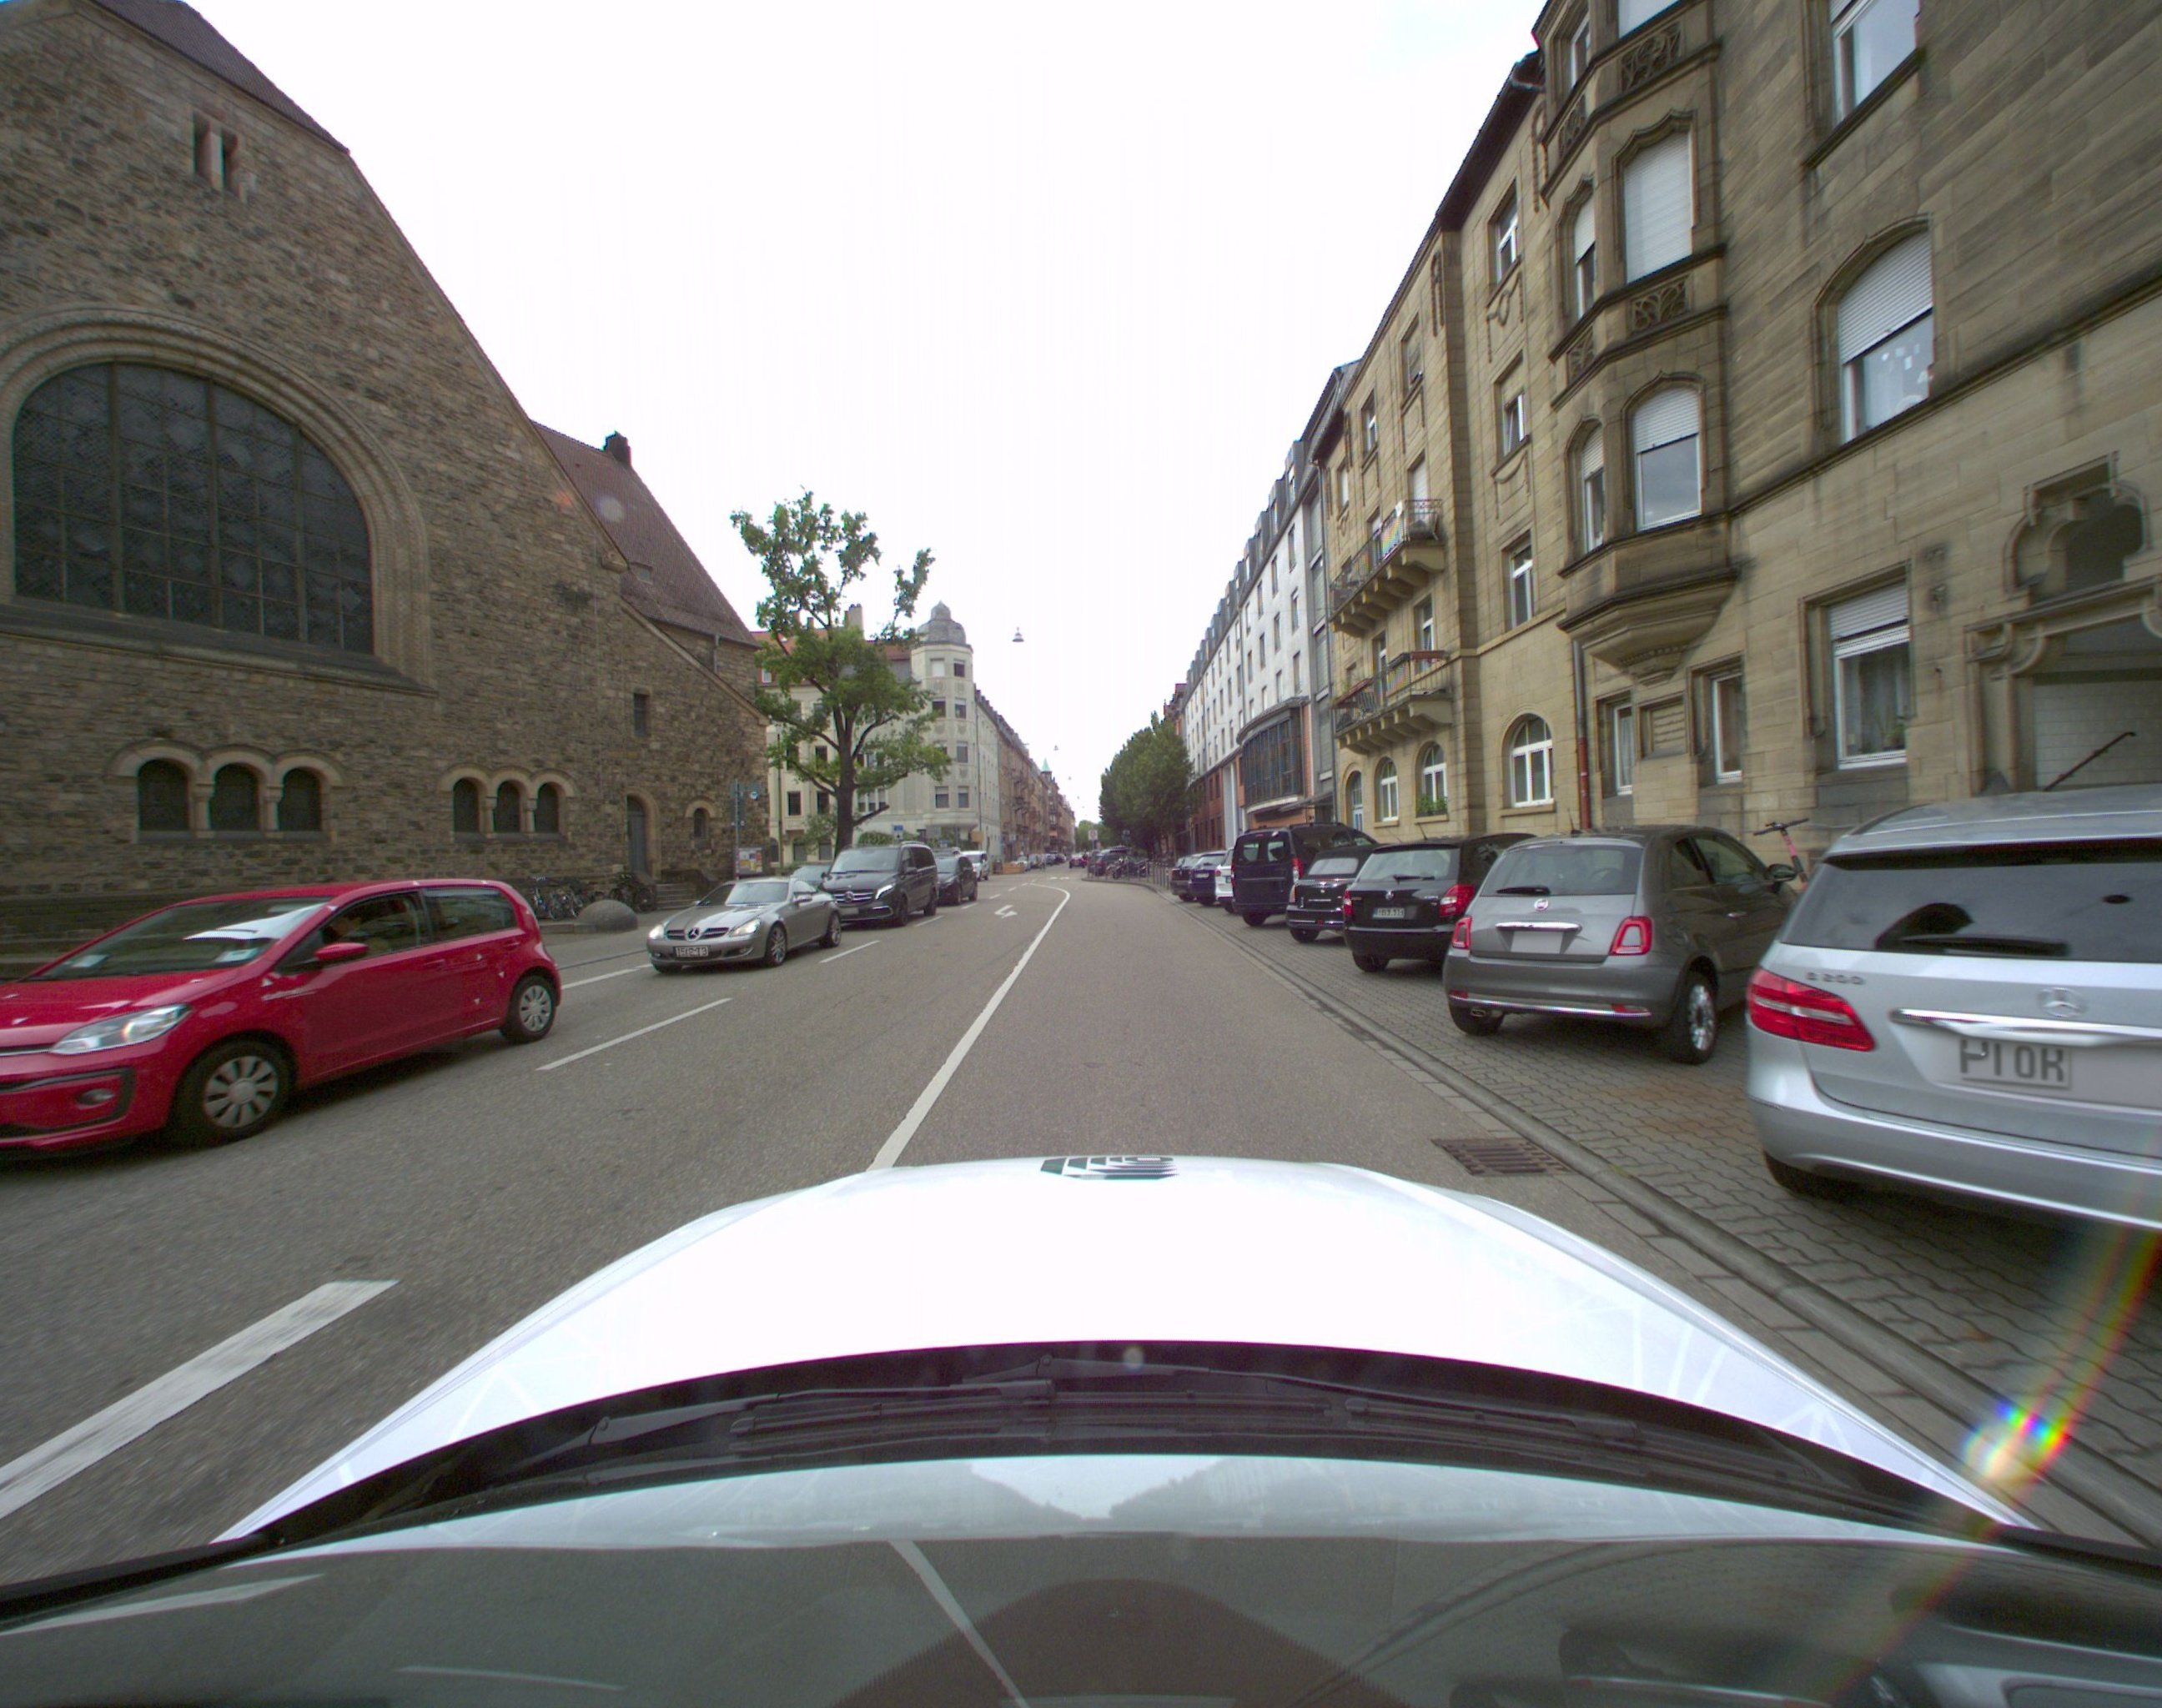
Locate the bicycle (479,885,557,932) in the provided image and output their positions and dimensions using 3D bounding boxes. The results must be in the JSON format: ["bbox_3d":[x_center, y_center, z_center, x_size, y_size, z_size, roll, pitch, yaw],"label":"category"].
[{"bbox_3d":[-14.318,1.378,20.718,1.766,1.125,0.570,-2,0,13],"label":"bicycle"}]

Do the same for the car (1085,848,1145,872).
[{"bbox_3d":[2.579,0.431,61.711,4.073,1.585,1.885,-3,-1,-30],"label":"car"}]

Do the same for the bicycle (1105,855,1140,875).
[{"bbox_3d":[2.341,0.609,46.327,1.924,1.043,0.611,-3,-1,-2],"label":"bicycle"}]

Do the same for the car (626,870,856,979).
[{"bbox_3d":[-5.079,0.982,12.846,1.698,1.286,4.044,-4,-1,2],"label":"car"}]

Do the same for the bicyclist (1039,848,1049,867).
[{"bbox_3d":[-3.623,0.364,79.512,0.779,1.866,0.715,-2,0,3],"label":"bicyclist"}]

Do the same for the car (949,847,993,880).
[{"bbox_3d":[-6.761,0.547,50.452,1.835,1.939,4.552,-1,0,3],"label":"car"}]

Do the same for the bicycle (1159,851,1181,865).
[{"bbox_3d":[7.295,0.340,66.914,1.746,1.092,0.565,-2,-1,0],"label":"bicycle"}]

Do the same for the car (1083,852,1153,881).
[{"bbox_3d":[2.508,0.802,54.244,4.303,1.578,1.844,-4,0,-32],"label":"car"}]

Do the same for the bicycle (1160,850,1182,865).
[{"bbox_3d":[7.336,0.283,66.309,1.746,1.092,0.565,-2,-1,0],"label":"bicycle"}]

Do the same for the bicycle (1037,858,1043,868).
[{"bbox_3d":[-4.216,0.955,84.163,0.533,0.977,1.865,-2,-1,1],"label":"bicycle"}]

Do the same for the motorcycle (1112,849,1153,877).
[{"bbox_3d":[2.812,0.489,44.435,2.128,1.429,0.770,-3,-1,-2],"label":"motorcycle"}]

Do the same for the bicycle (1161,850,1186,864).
[{"bbox_3d":[7.206,0.231,63.293,1.889,1.092,0.543,-2,-1,0],"label":"bicycle"}]

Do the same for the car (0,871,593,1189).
[{"bbox_3d":[-5.459,0.926,5.806,1.597,1.457,3.718,-4,-1,0],"label":"car"}]

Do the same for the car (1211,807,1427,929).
[{"bbox_3d":[4.724,0.191,15.844,4.306,1.906,1.857,-6,2,-40],"label":"car"}]

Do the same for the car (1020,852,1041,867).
[{"bbox_3d":[-5.611,0.617,90.913,1.937,1.617,3.943,-1,0,1],"label":"car"}]

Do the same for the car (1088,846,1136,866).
[{"bbox_3d":[3.707,0.225,96.027,5.425,1.992,1.930,-3,-1,-33],"label":"car"}]

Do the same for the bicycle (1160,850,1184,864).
[{"bbox_3d":[7.168,0.243,64.103,1.830,1.092,0.543,-2,-1,0],"label":"bicycle"}]

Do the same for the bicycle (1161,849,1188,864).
[{"bbox_3d":[7.198,0.221,62.687,1.926,1.092,0.577,-2,-1,0],"label":"bicycle"}]

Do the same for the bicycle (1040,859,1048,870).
[{"bbox_3d":[-3.638,1.014,79.333,0.565,1.087,1.988,-2,0,3],"label":"bicycle"}]

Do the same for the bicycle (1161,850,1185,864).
[{"bbox_3d":[7.303,0.256,64.896,1.830,1.092,0.565,-2,-1,0],"label":"bicycle"}]

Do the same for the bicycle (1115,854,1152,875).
[{"bbox_3d":[2.923,0.578,45.536,2.004,1.062,0.611,-3,-1,-2],"label":"bicycle"}]

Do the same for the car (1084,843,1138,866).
[{"bbox_3d":[3.255,0.038,87.916,5.647,2.127,1.930,-3,-1,-33],"label":"car"}]

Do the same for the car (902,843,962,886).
[{"bbox_3d":[-7.527,0.486,41.658,2.006,2.014,5.184,-2,0,1],"label":"car"}]

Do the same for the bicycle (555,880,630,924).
[{"bbox_3d":[-13.771,1.340,22.958,1.765,1.166,0.744,-2,0,13],"label":"bicycle"}]

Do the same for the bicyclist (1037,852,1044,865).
[{"bbox_3d":[-4.225,0.471,84.156,0.666,1.399,0.783,-2,-1,-2],"label":"bicyclist"}]

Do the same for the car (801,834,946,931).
[{"bbox_3d":[-4.711,0.574,19.421,1.905,1.954,5.286,-2,0,2],"label":"car"}]

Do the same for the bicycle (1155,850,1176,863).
[{"bbox_3d":[7.422,0.259,71.393,1.746,1.092,0.565,-2,-1,0],"label":"bicycle"}]

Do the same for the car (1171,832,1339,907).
[{"bbox_3d":[4.643,0.375,21.691,4.011,1.533,1.914,-6,1,-28],"label":"car"}]

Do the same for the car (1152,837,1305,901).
[{"bbox_3d":[4.447,0.411,24.517,4.266,1.478,1.671,-5,1,-23],"label":"car"}]

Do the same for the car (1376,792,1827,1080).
[{"bbox_3d":[4.579,0.411,6.859,4.488,1.573,1.727,-5,1,-38],"label":"car"}]

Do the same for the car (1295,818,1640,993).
[{"bbox_3d":[4.749,0.455,9.729,4.487,1.552,1.831,-3,0,-38],"label":"car"}]

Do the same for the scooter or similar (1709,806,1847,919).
[{"bbox_3d":[8.094,0.111,9.525,0.432,1.187,1.219,-8,-2,2],"label":"scooter or similar"}]

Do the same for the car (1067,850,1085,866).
[{"bbox_3d":[-0.570,0.482,94.594,1.987,1.681,3.999,-2,-1,0],"label":"car"}]

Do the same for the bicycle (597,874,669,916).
[{"bbox_3d":[-13.050,1.197,23.757,1.765,1.152,0.744,-2,0,13],"label":"bicycle"}]

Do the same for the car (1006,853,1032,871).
[{"bbox_3d":[-6.034,0.765,79.514,1.935,1.553,3.821,-3,0,4],"label":"car"}]

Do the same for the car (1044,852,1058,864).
[{"bbox_3d":[-4.587,0.580,124.474,1.937,1.742,3.943,-1,0,1],"label":"car"}]

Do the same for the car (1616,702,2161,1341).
[{"bbox_3d":[4.619,0.316,3.733,4.773,1.685,1.915,-4,-1,-35],"label":"car"}]

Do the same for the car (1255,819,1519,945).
[{"bbox_3d":[4.955,0.379,12.993,4.091,1.453,2.008,-6,1,-38],"label":"car"}]

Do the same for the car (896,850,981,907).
[{"bbox_3d":[-4.611,0.739,27.036,1.838,1.684,4.550,-2,0,2],"label":"car"}]

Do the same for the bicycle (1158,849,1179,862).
[{"bbox_3d":[7.553,0.156,70.638,1.746,1.092,0.565,-2,-1,0],"label":"bicycle"}]

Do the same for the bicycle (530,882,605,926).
[{"bbox_3d":[-13.977,1.358,22.173,1.765,1.130,0.664,-2,0,13],"label":"bicycle"}]

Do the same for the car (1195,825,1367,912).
[{"bbox_3d":[4.724,0.289,18.979,4.021,1.601,1.745,-6,2,-39],"label":"car"}]

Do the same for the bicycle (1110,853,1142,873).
[{"bbox_3d":[2.751,0.548,49.984,1.879,1.141,0.611,-3,-1,-2],"label":"bicycle"}]

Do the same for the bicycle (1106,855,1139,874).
[{"bbox_3d":[2.444,0.620,47.837,1.879,1.043,0.611,-3,-1,-2],"label":"bicycle"}]

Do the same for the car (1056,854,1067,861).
[{"bbox_3d":[-3.732,0.643,157.014,1.988,1.321,3.996,-2,-1,-2],"label":"car"}]

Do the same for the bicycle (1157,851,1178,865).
[{"bbox_3d":[7.393,0.338,69.765,1.746,1.092,0.565,-2,-1,0],"label":"bicycle"}]
